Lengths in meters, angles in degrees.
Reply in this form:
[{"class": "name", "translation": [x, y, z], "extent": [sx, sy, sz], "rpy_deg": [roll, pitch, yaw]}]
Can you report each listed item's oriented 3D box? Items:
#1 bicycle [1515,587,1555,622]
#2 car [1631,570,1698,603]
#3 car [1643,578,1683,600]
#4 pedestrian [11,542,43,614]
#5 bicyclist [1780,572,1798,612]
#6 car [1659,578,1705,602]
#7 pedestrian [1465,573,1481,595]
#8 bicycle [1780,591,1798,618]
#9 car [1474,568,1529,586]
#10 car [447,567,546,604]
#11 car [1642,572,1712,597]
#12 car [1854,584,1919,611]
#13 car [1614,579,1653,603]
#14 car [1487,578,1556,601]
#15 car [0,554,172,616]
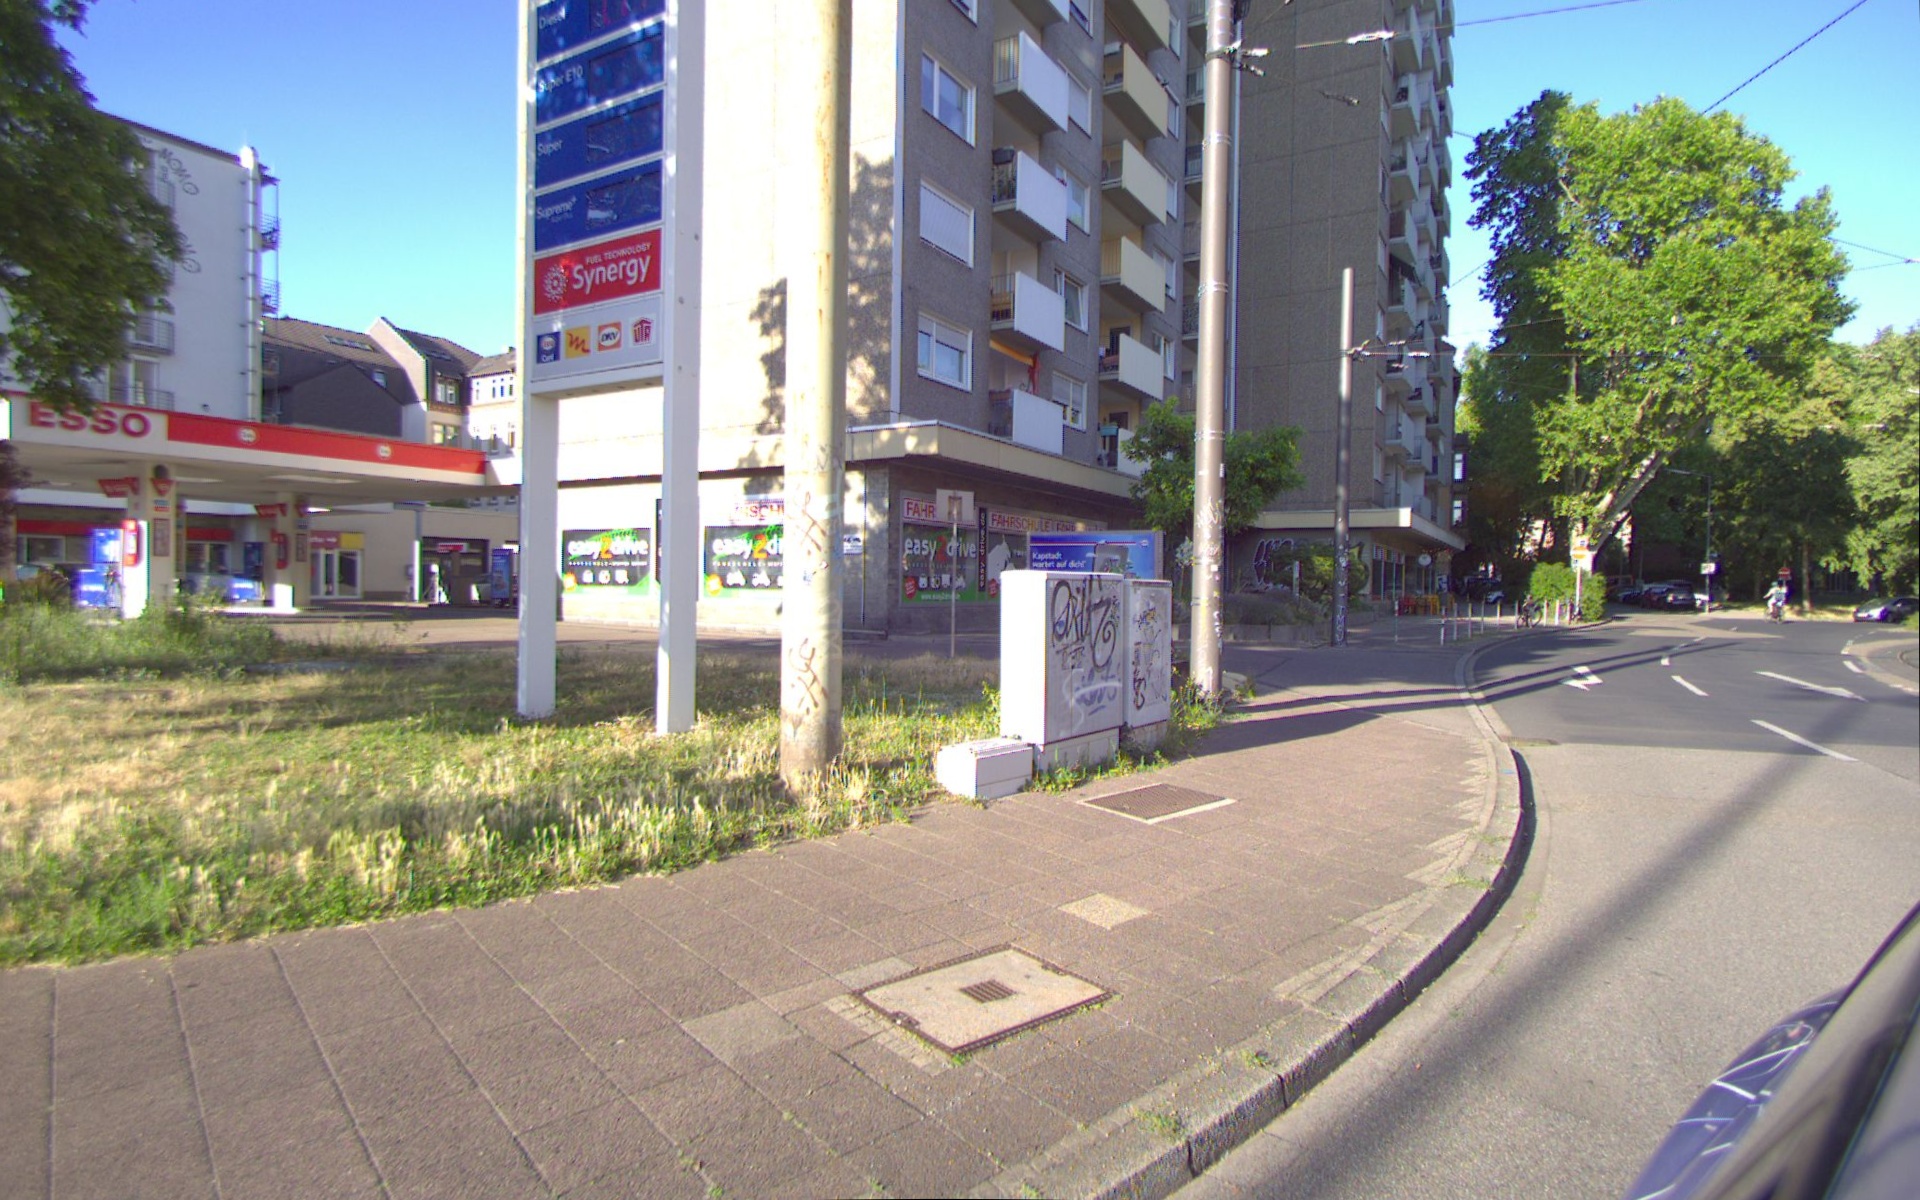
[{"class": "bicycle", "translation": [19.638, 0.123, 34.567], "extent": [0.608, 1.149, 2.243], "rpy_deg": [1, 2, 45]}, {"class": "car", "translation": [53.314, -1.012, 76.655], "extent": [3.879, 2.435, 1.524], "rpy_deg": [1, 1, 21]}, {"class": "car", "translation": [49.218, -0.764, 70.902], "extent": [1.518, 1.466, 3.896], "rpy_deg": [1, 1, 24]}, {"class": "pedestrian", "translation": [-22.690, -0.541, 24.606], "extent": [0.414, 1.726, 0.419], "rpy_deg": [1, 1, 16]}, {"class": "bicyclist", "translation": [37.715, -0.356, 46.049], "extent": [0.604, 1.785, 1.046], "rpy_deg": [1, 1, 39]}, {"class": "car", "translation": [46.982, -0.657, 65.908], "extent": [1.722, 1.466, 3.603], "rpy_deg": [1, 1, 24]}, {"class": "pedestrian", "translation": [47.023, -1.451, 92.774], "extent": [1.200, 2.039, 1.197], "rpy_deg": [1, 1, 23]}, {"class": "bicycle", "translation": [37.714, 0.207, 46.057], "extent": [0.608, 1.190, 1.924], "rpy_deg": [1, 1, 39]}, {"class": "car", "translation": [46.407, -1.982, 86.797], "extent": [3.953, 1.527, 1.872], "rpy_deg": [1, 1, 22]}, {"class": "car", "translation": [-18.793, -0.608, 40.973], "extent": [4.226, 1.438, 1.730], "rpy_deg": [2, 1, 34]}, {"class": "car", "translation": [52.741, -1.155, 74.478], "extent": [3.879, 1.783, 1.524], "rpy_deg": [1, 1, 21]}, {"class": "car", "translation": [52.194, -0.157, 56.117], "extent": [3.916, 1.415, 1.955], "rpy_deg": [0, 1, -12]}, {"class": "car", "translation": [55.294, -0.745, 83.160], "extent": [1.750, 1.880, 4.199], "rpy_deg": [1, 1, 21]}, {"class": "car", "translation": [39.388, -0.761, 71.067], "extent": [3.953, 1.527, 1.872], "rpy_deg": [1, 1, 22]}, {"class": "car", "translation": [-22.774, -0.421, 26.047], "extent": [3.944, 1.371, 1.990], "rpy_deg": [3, 2, 16]}]
